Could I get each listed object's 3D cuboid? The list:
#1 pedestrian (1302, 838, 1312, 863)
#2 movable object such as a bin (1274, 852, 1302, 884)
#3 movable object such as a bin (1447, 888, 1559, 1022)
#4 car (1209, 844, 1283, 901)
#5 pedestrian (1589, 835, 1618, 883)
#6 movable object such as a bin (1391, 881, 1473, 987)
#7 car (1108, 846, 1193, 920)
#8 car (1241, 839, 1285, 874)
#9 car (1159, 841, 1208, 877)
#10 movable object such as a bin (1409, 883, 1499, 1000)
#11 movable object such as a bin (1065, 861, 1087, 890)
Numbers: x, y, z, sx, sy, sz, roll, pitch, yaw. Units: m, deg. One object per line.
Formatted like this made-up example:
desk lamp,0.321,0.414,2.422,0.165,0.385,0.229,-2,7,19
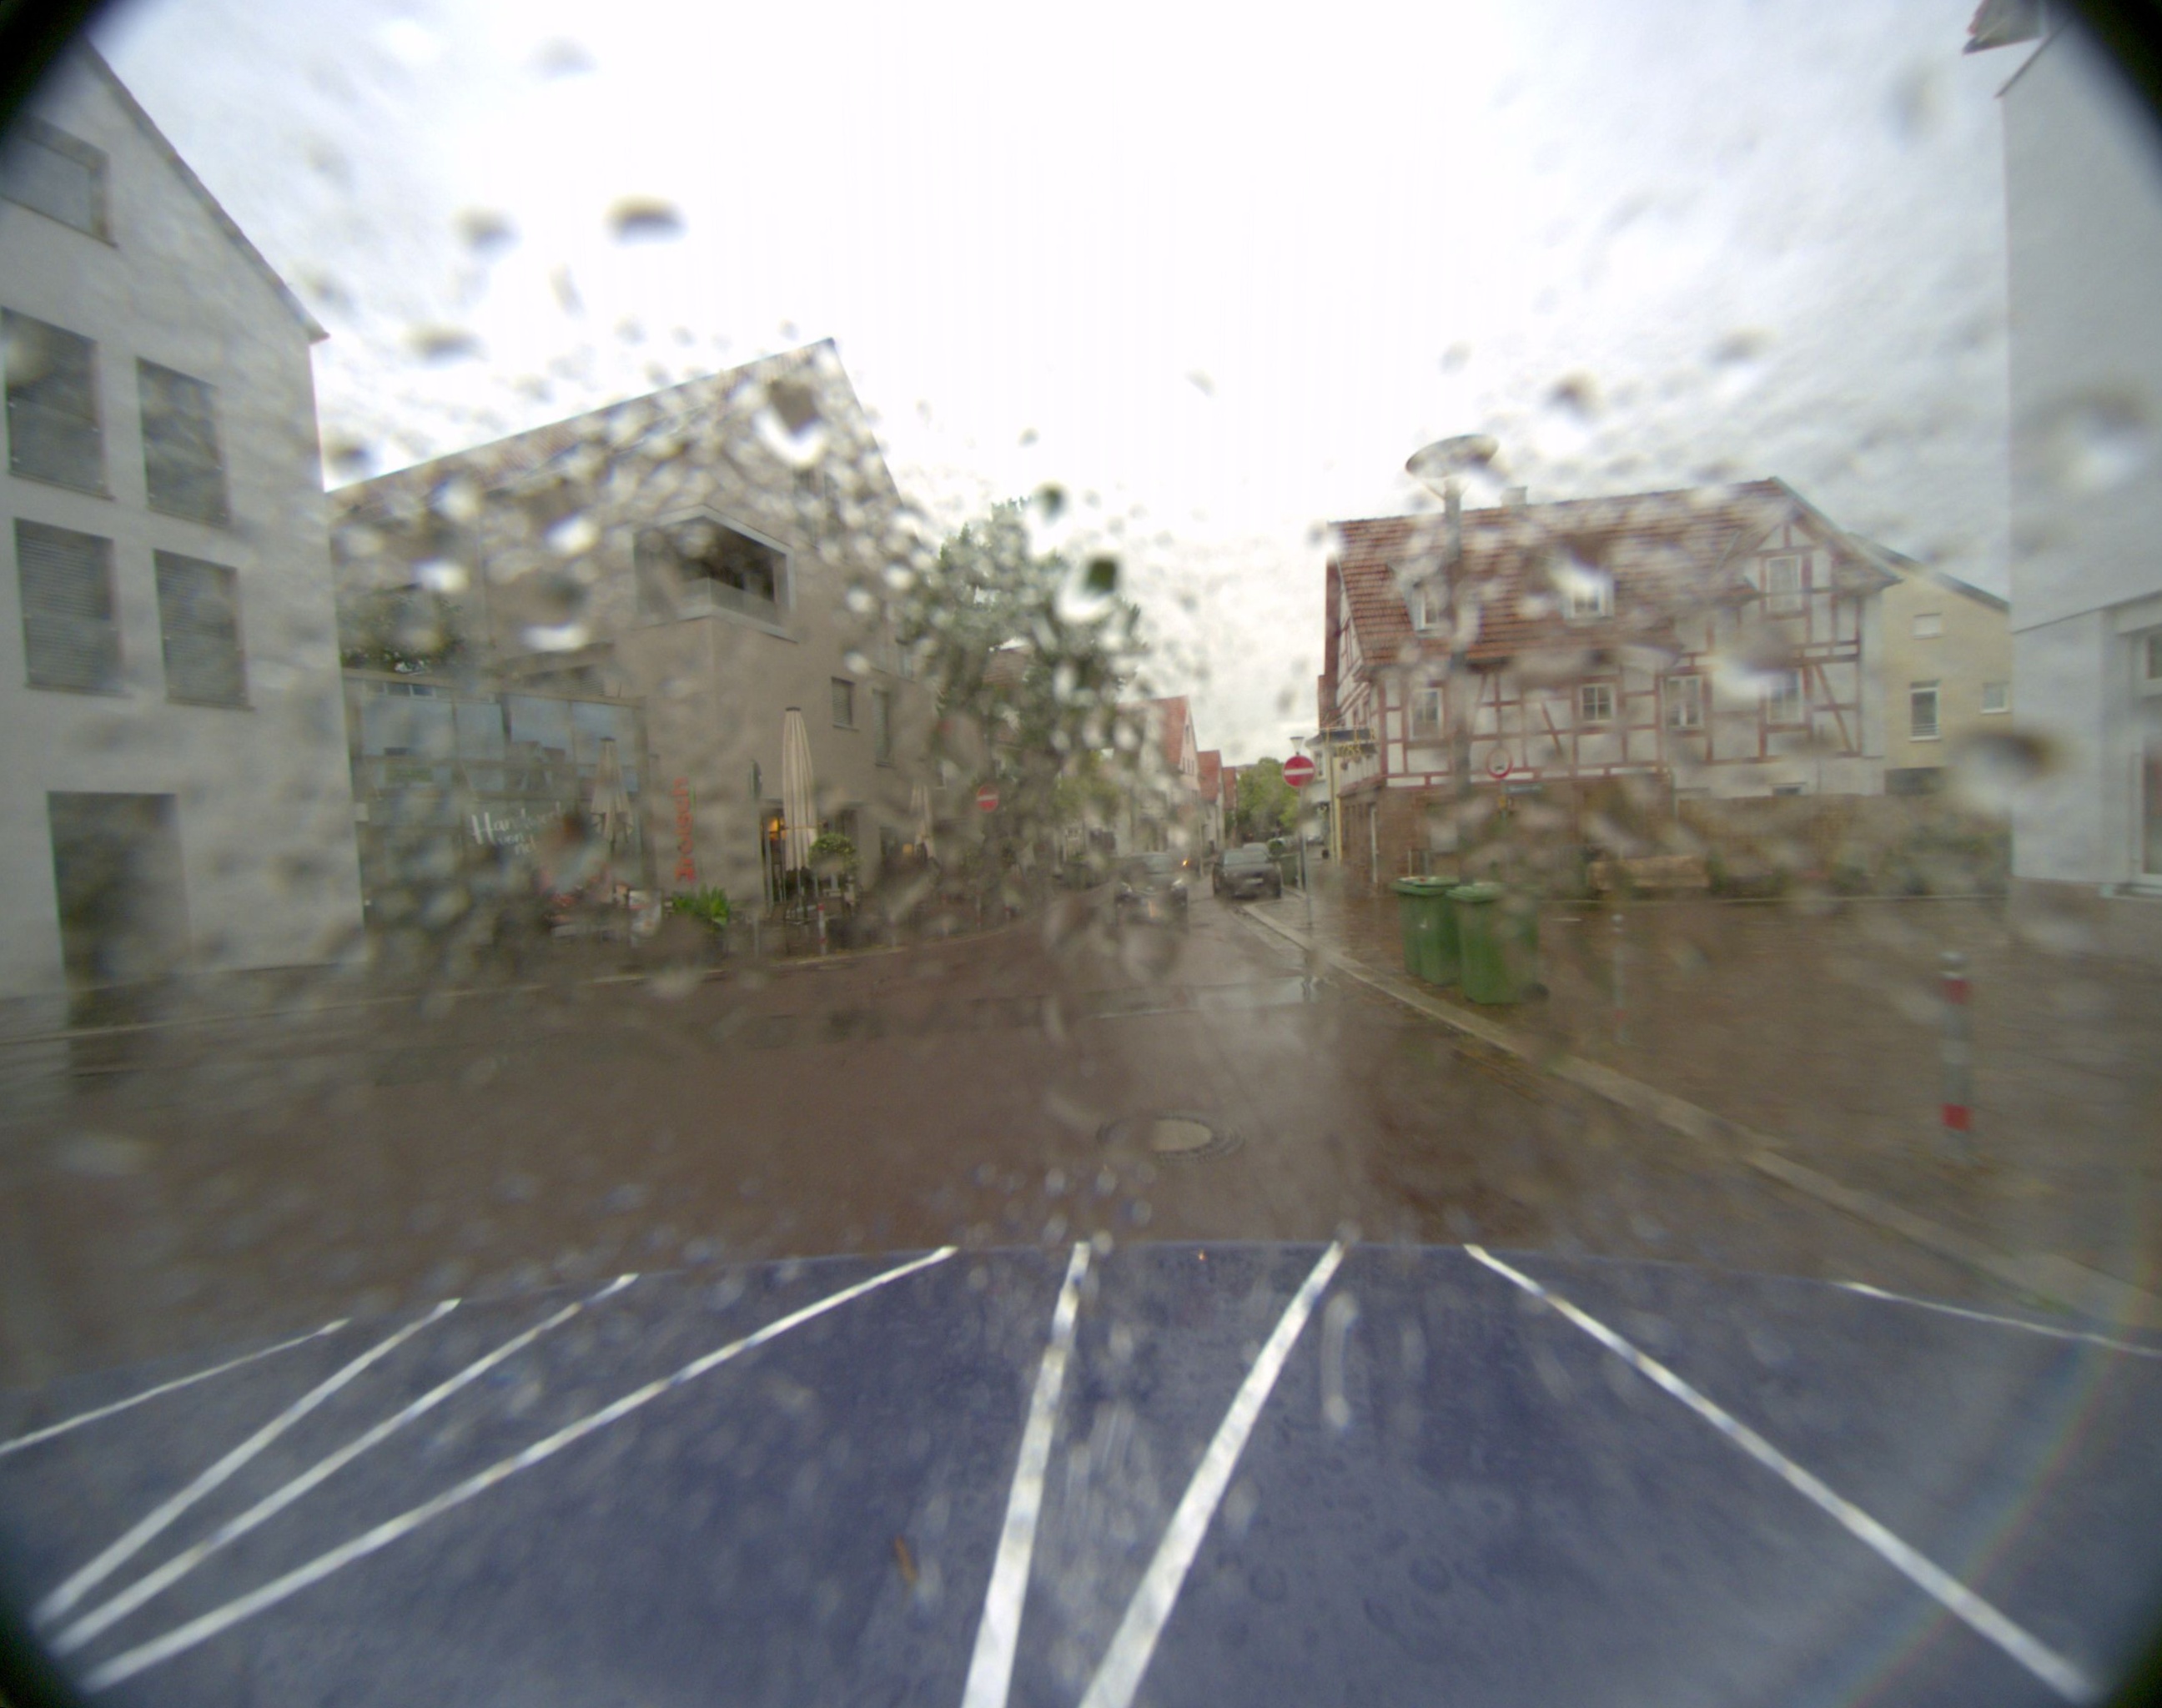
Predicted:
pedestrian,11.976,-0.164,40.234,0.454,1.300,0.518,-2,1,16
movable object such as a bin,7.444,0.487,27.318,0.834,1.105,0.919,-2,1,8
movable object such as a bin,3.748,0.879,6.793,0.660,1.090,0.613,-2,2,4
car,5.073,0.504,23.771,1.693,1.477,4.001,-5,1,6
pedestrian,12.722,0.114,18.516,0.412,1.148,0.425,-2,1,9
movable object such as a bin,3.839,0.863,8.347,0.660,1.076,0.552,-2,2,6
car,1.782,0.628,18.484,1.735,1.547,3.847,-2,1,9
car,9.360,0.101,38.838,1.996,1.520,4.003,-5,0,15
car,5.462,0.226,39.939,1.996,1.740,4.004,-2,1,15
movable object such as a bin,3.782,0.873,7.741,0.660,1.108,0.552,-2,2,6
movable object such as a bin,-0.190,0.820,29.502,0.765,1.068,0.538,-2,2,10
